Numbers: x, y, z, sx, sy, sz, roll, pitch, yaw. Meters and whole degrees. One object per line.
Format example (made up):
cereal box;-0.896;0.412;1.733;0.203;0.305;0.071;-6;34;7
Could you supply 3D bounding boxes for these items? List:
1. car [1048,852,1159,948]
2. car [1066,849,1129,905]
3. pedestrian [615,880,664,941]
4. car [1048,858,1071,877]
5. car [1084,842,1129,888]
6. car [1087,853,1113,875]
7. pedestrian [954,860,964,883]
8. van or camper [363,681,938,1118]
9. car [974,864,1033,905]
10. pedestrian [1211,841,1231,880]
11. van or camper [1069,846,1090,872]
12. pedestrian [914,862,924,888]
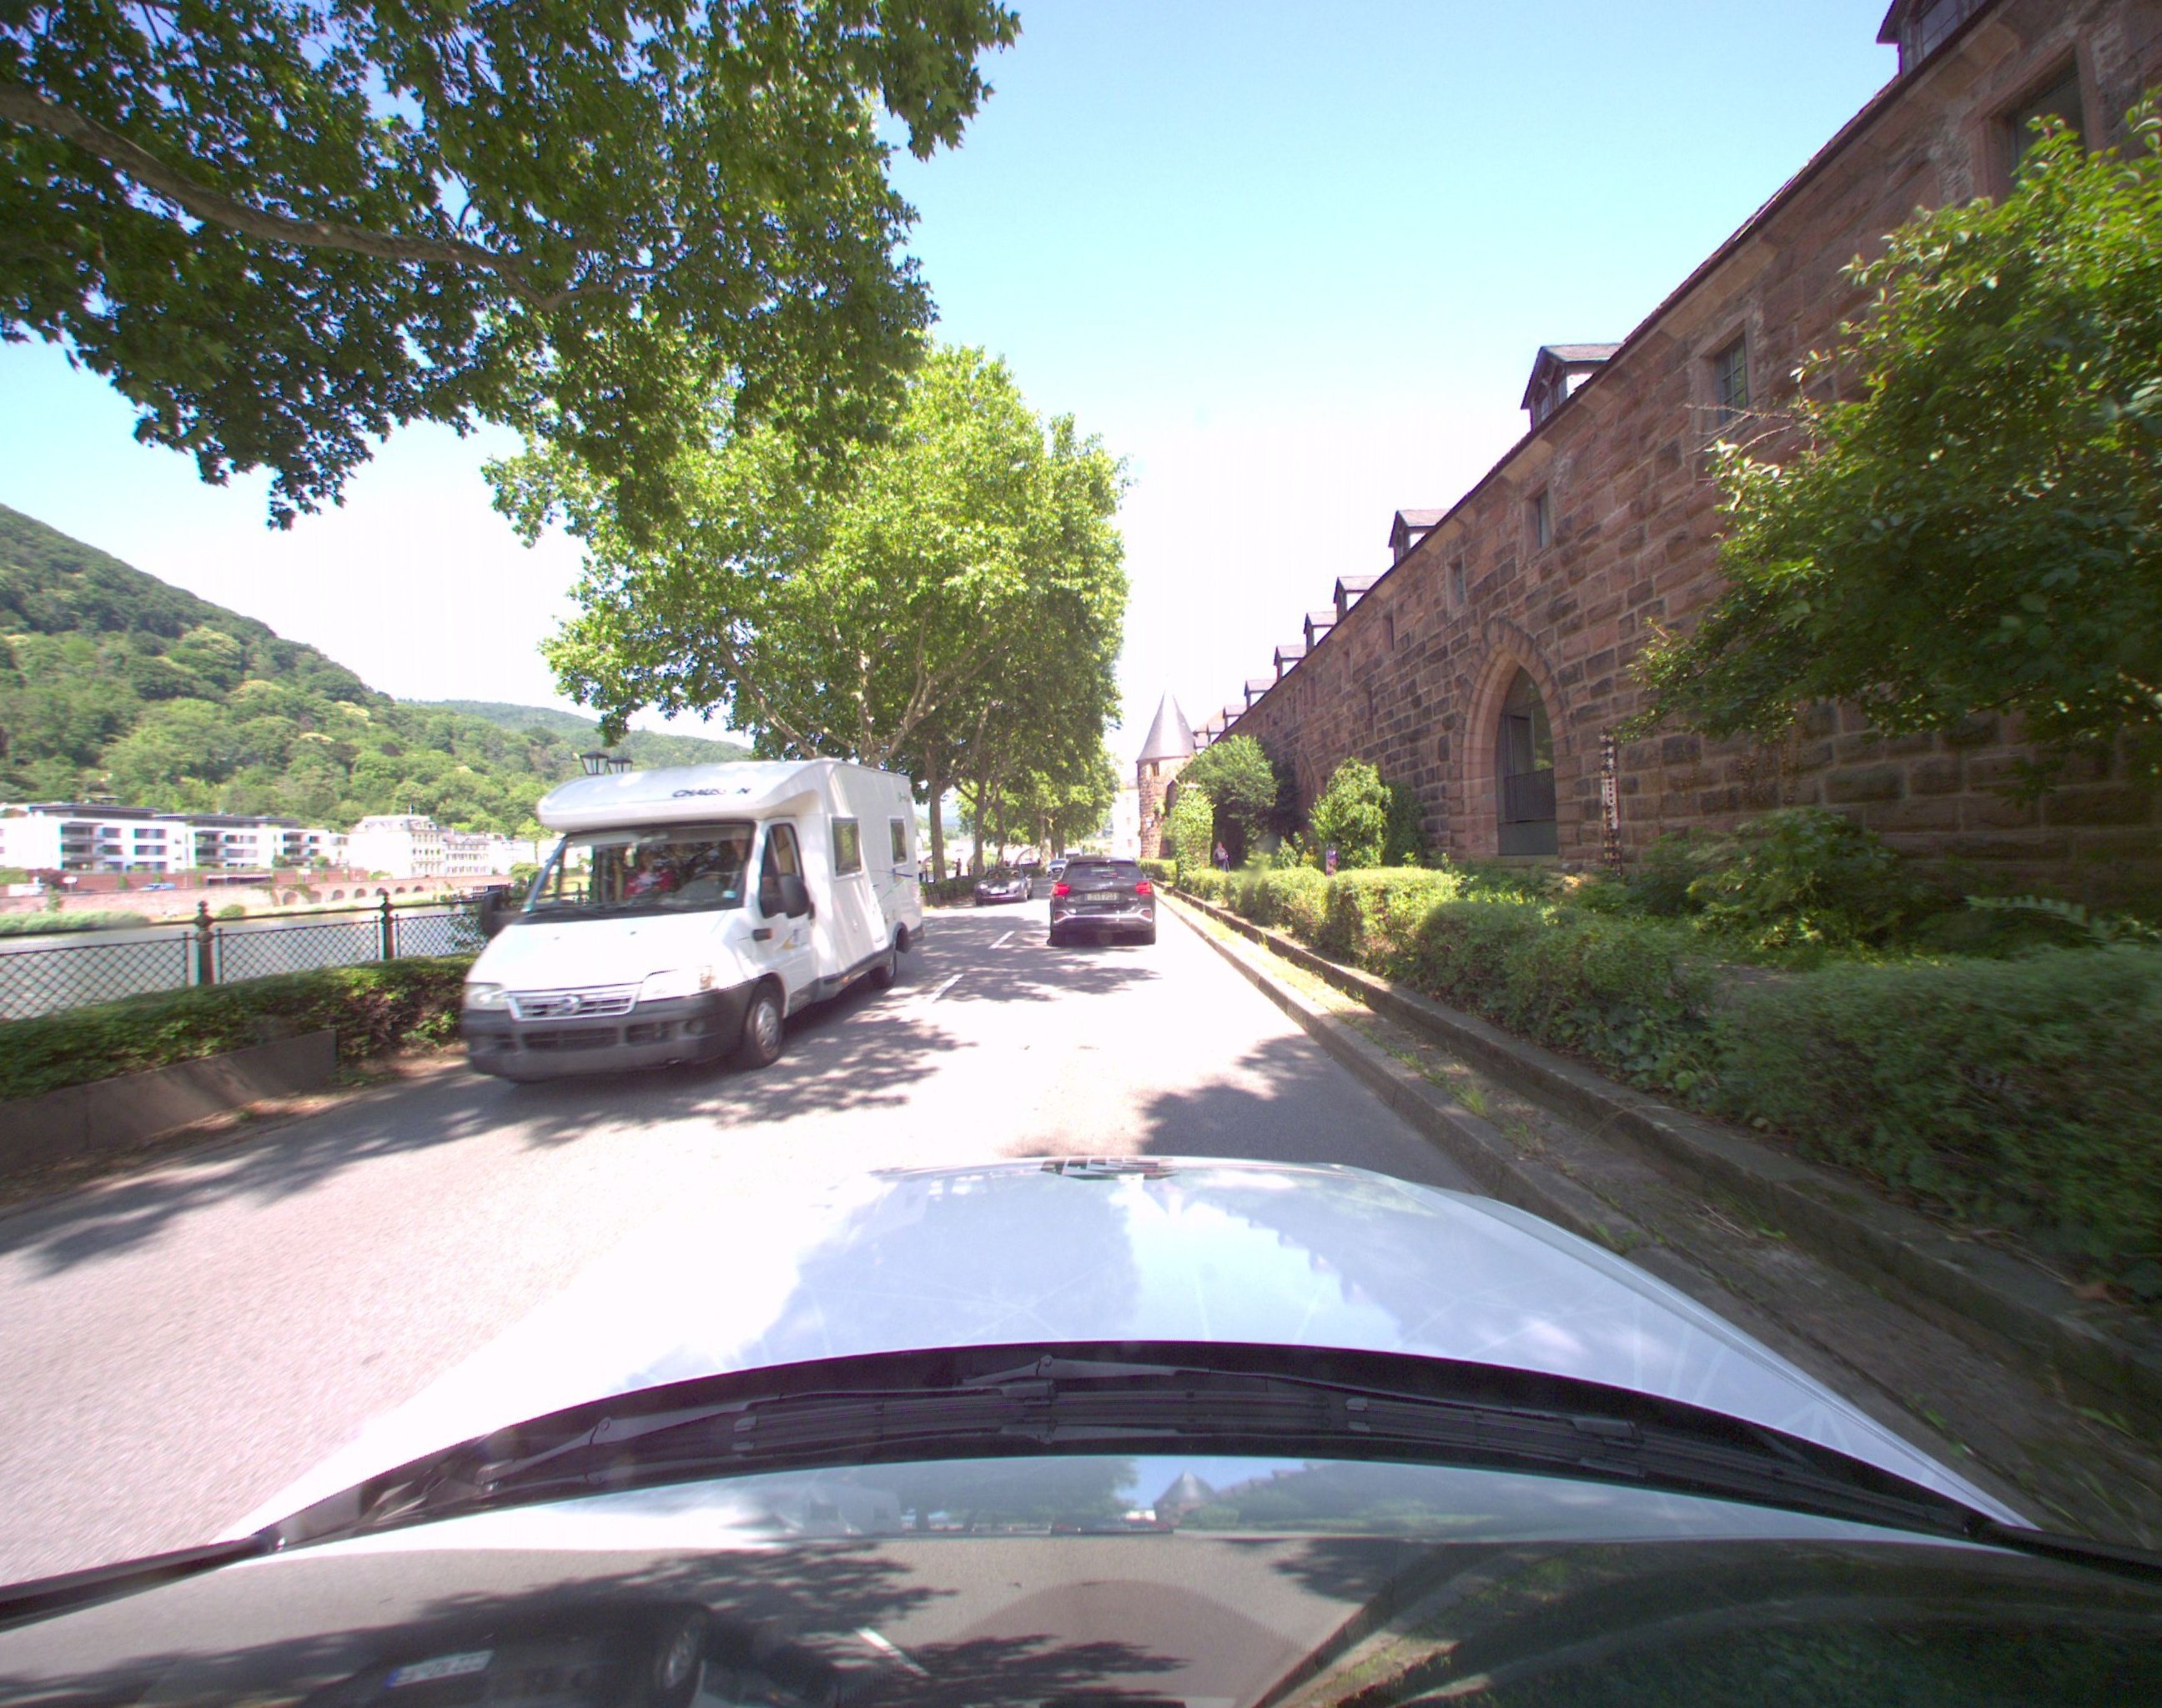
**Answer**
car;0.374;0.735;14.765;1.742;1.494;3.629;-1;0;0
car;0.605;0.692;26.283;1.793;1.562;3.719;-4;0;3
pedestrian;-9.757;1.247;18.026;0.700;1.308;0.657;0;-1;2
car;-1.858;1.158;70.755;1.763;1.457;4.534;-3;0;1
car;1.247;0.526;39.849;1.986;2.013;4.001;-4;0;1
car;1.371;0.723;59.157;1.763;1.457;4.534;-3;0;1
pedestrian;-8.700;1.243;58.181;0.642;1.618;0.458;0;-1;-1
van or camper;-3.342;0.319;8.401;2.314;2.662;6.266;-4;-1;1
car;-2.634;1.024;28.402;1.693;1.211;3.484;-3;0;-1
pedestrian;6.175;0.270;35.906;0.695;1.652;0.705;-4;0;4
van or camper;-0.142;0.564;90.259;1.953;2.567;5.843;-5;-1;2
pedestrian;-10.839;1.424;54.603;0.582;1.710;0.403;0;-1;-1
